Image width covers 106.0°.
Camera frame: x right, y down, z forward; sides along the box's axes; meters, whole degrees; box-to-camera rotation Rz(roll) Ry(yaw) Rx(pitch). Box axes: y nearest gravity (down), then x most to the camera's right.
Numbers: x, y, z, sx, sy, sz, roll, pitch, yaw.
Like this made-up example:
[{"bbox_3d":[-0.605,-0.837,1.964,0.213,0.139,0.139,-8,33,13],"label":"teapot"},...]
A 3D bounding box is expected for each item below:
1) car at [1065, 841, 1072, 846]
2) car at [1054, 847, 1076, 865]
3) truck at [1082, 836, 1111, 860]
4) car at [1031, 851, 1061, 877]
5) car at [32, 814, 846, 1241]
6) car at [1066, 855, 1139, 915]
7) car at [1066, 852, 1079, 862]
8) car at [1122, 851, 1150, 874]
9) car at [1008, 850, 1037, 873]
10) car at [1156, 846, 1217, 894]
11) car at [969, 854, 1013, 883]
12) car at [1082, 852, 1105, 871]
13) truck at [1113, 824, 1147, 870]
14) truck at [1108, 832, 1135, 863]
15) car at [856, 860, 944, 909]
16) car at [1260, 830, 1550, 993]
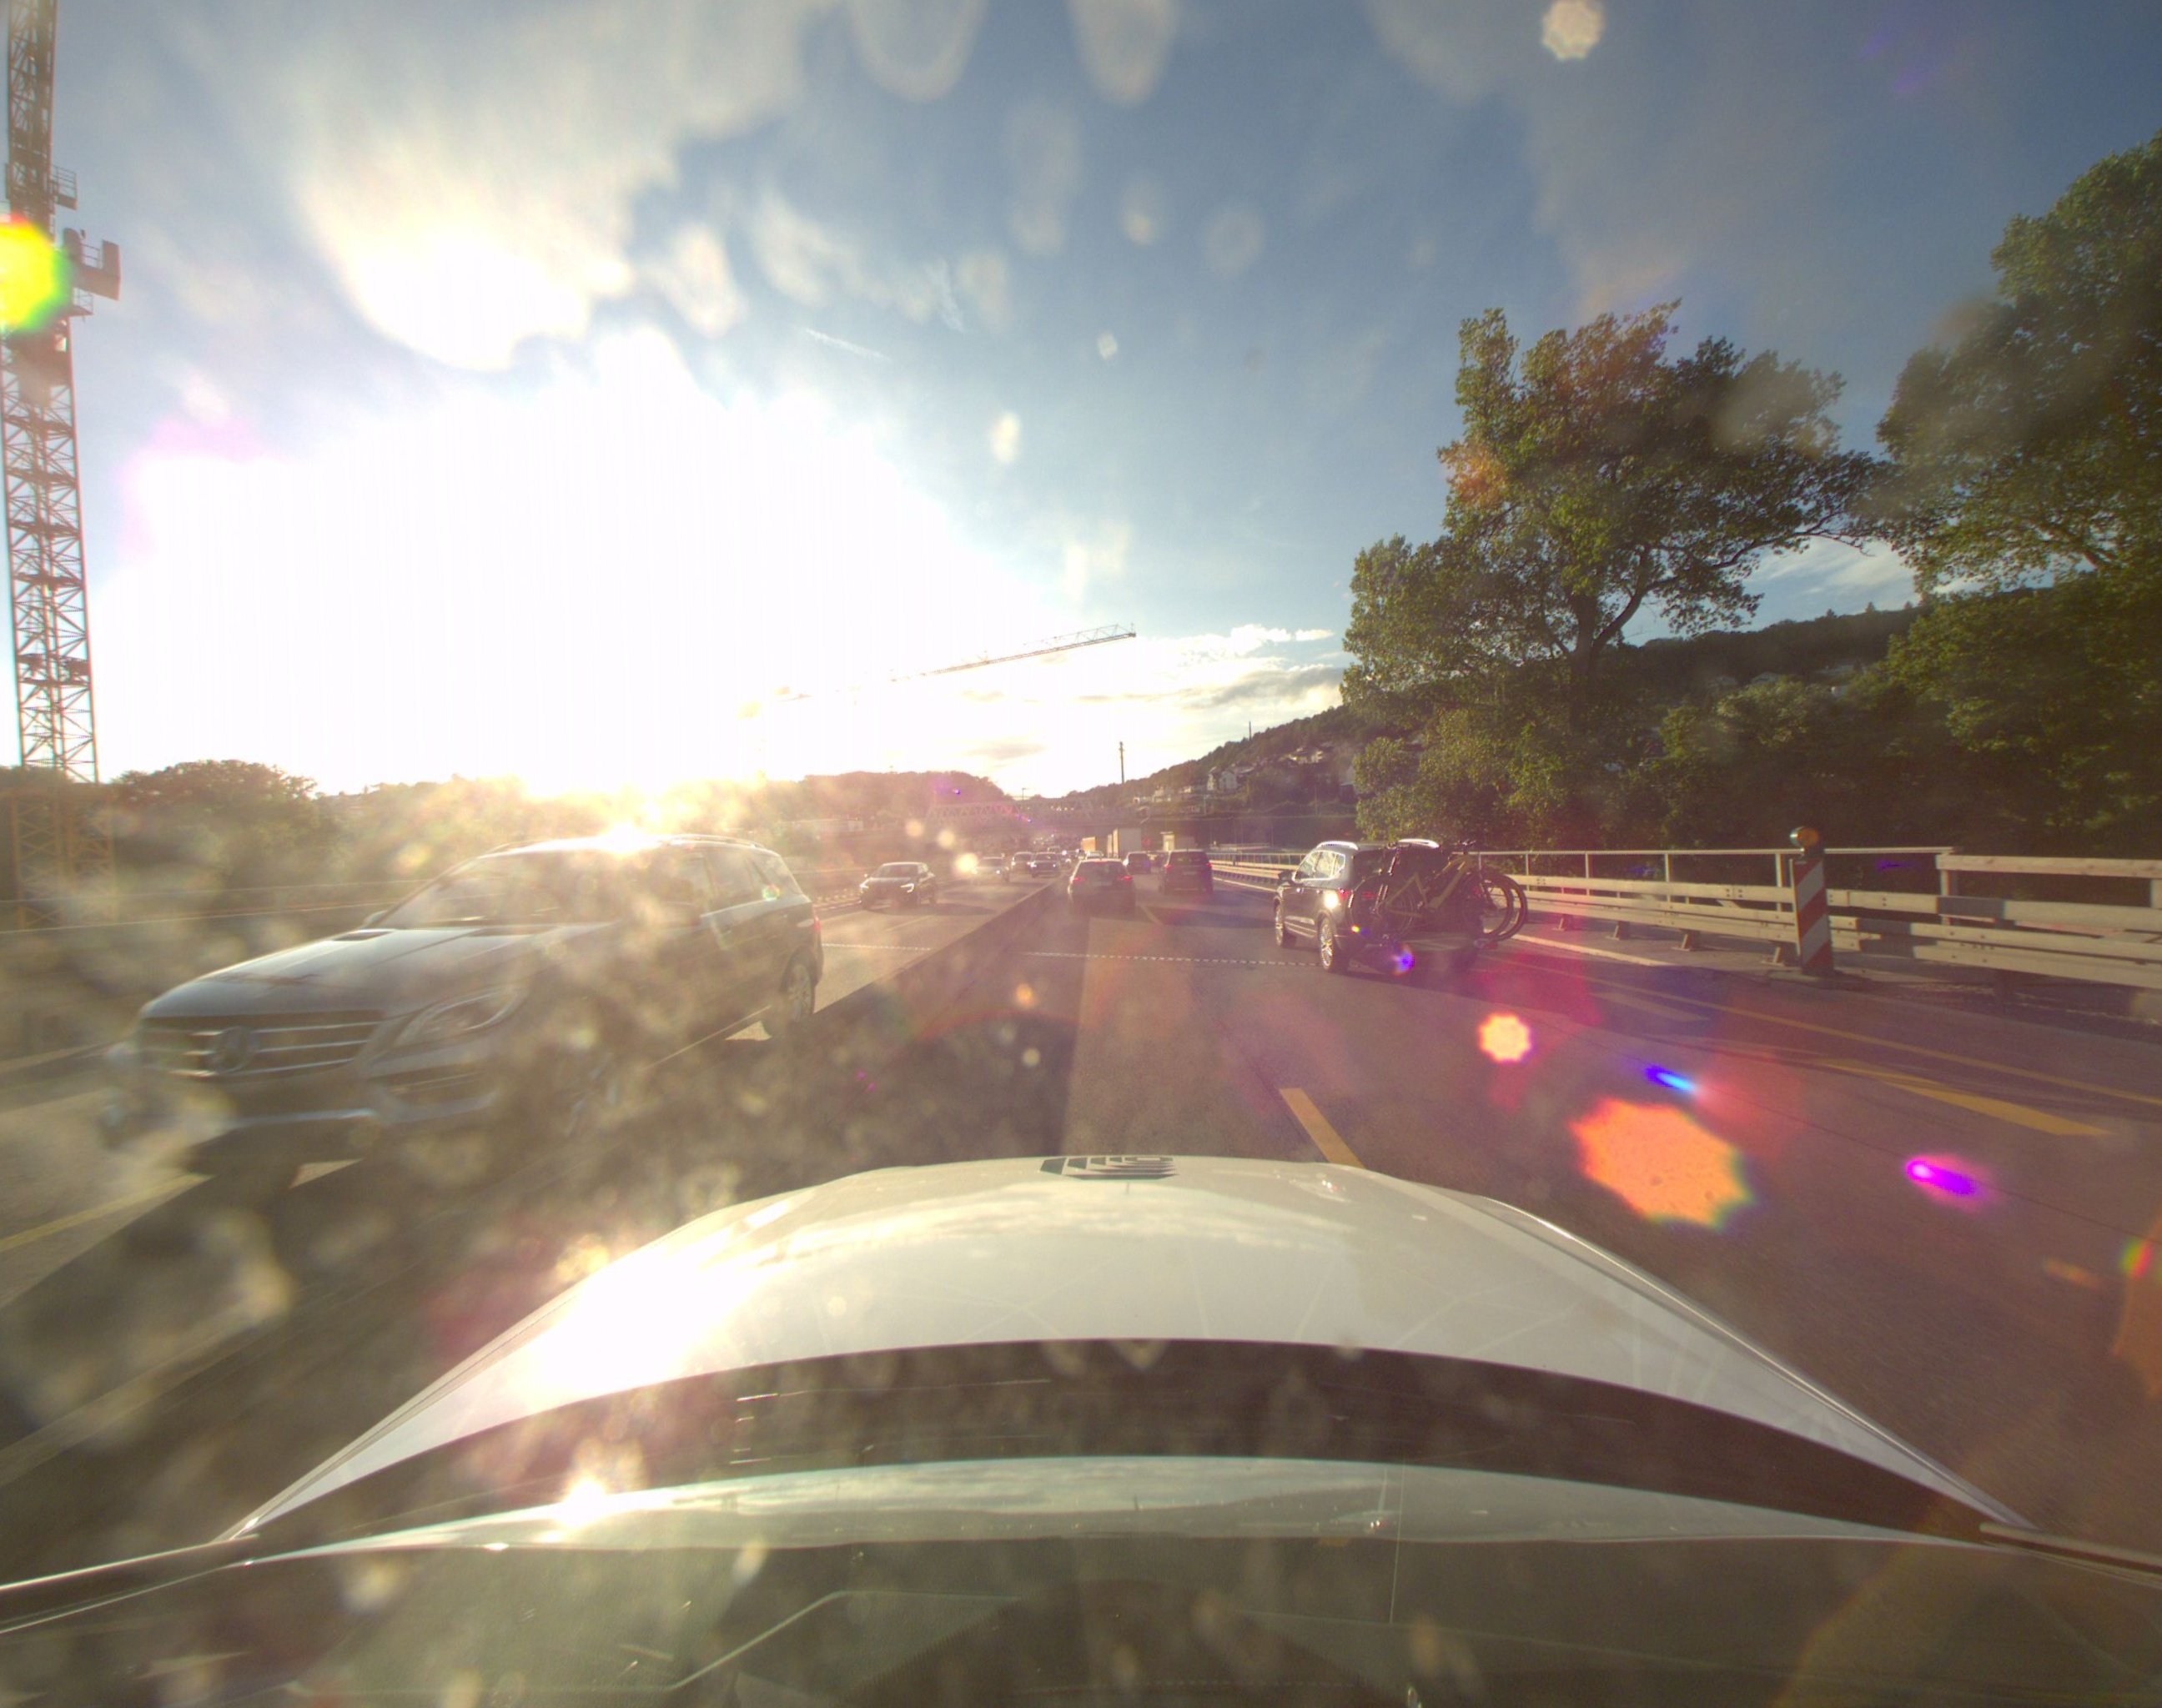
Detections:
[{"bbox_3d":[-3.618,-2.975,231.170,1.787,1.539,4.364,-2,1,-2],"label":"car"},{"bbox_3d":[-1.571,0.200,82.359,1.831,1.640,4.003,-3,0,2],"label":"car"},{"bbox_3d":[3.114,-1.347,168.439,3.887,4.497,13.814,-1,2,-7],"label":"truck"},{"bbox_3d":[-2.455,0.673,58.297,1.923,1.754,4.671,-1,0,-1],"label":"car"},{"bbox_3d":[-3.410,0.721,5.804,1.986,1.758,4.661,-2,0,1],"label":"car"},{"bbox_3d":[0.533,0.771,22.188,1.764,1.390,4.000,-1,1,0],"label":"car"},{"bbox_3d":[-1.466,0.536,138.177,1.988,1.530,5.778,-2,1,-1],"label":"car"},{"bbox_3d":[4.016,0.592,60.278,1.764,1.552,4.000,-1,1,0],"label":"car"},{"bbox_3d":[-5.057,0.636,70.853,1.985,1.856,4.285,1,0,3],"label":"car"},{"bbox_3d":[3.944,0.560,31.165,1.808,1.632,4.412,-2,1,1],"label":"car"},{"bbox_3d":[-5.191,0.821,47.338,1.922,1.546,4.290,-1,0,2],"label":"car"},{"bbox_3d":[0.998,0.620,67.314,1.760,1.486,3.999,-1,1,-1],"label":"car"},{"bbox_3d":[5.333,-1.036,91.121,3.372,4.497,15.280,-1,3,2],"label":"truck"},{"bbox_3d":[6.443,-1.187,130.773,3.876,4.497,15.274,-1,2,1],"label":"truck"},{"bbox_3d":[-5.881,0.950,26.984,1.769,1.404,4.310,-1,0,2],"label":"car"},{"bbox_3d":[3.867,0.570,10.828,1.869,1.599,4.966,-2,0,0],"label":"car"}]
